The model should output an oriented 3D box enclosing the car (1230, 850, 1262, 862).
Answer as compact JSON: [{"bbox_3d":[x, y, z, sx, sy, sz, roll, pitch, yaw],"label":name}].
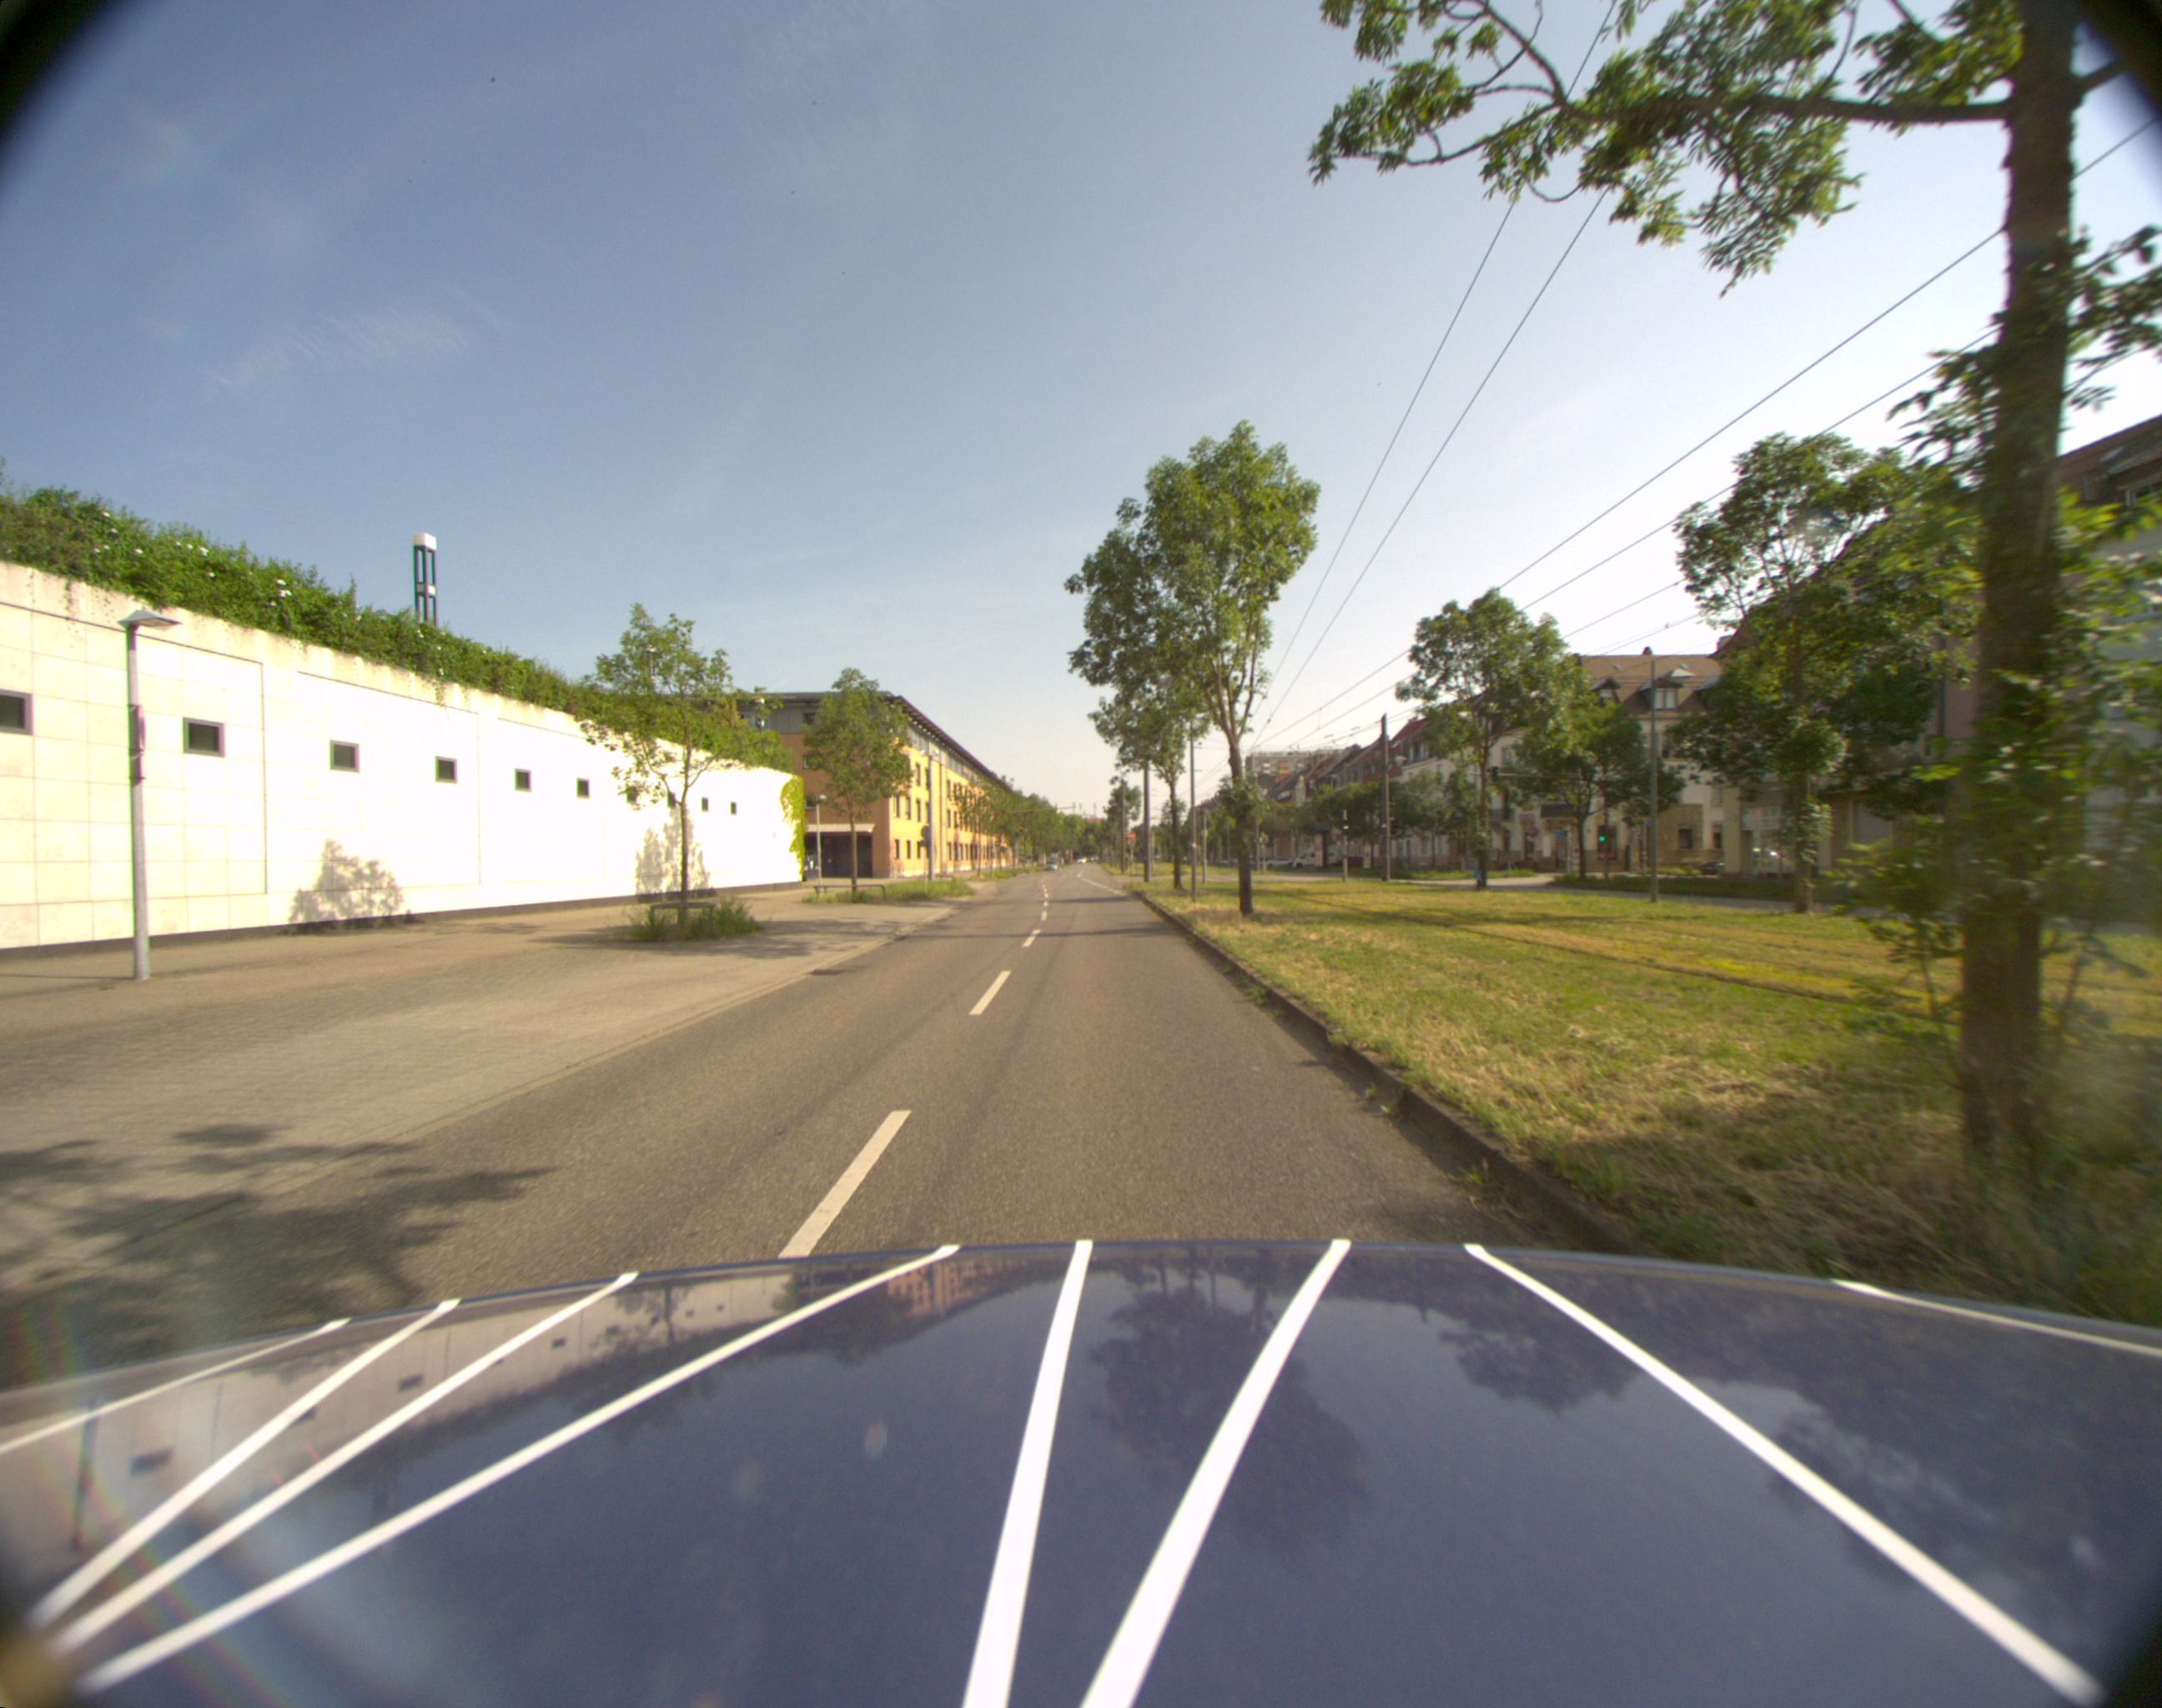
[{"bbox_3d":[27.814,0.302,128.331,4.939,1.716,1.860,-2,1,36],"label":"car"}]

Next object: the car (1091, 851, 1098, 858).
[{"bbox_3d":[3.990,0.122,228.875,1.998,2.002,4.000,-3,1,2],"label":"car"}]

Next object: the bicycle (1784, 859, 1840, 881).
[{"bbox_3d":[30.964,0.665,32.214,0.469,0.884,1.947,-3,1,0],"label":"bicycle"}]

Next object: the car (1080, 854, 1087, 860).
[{"bbox_3d":[0.735,0.855,196.454,1.693,1.476,3.366,-3,1,0],"label":"car"}]

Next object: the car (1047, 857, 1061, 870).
[{"bbox_3d":[-3.489,1.236,99.366,1.629,1.476,3.366,-3,1,0],"label":"car"}]

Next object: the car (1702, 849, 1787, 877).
[{"bbox_3d":[43.894,0.587,50.317,3.997,1.611,1.833,-3,1,-1],"label":"car"}]

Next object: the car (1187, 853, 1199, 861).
[{"bbox_3d":[22.838,0.561,155.090,1.817,1.425,3.925,-3,1,0],"label":"car"}]

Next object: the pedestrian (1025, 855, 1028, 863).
[{"bbox_3d":[-11.042,1.015,153.968,0.697,1.647,0.773,0,1,1],"label":"pedestrian"}]

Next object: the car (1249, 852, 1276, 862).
[{"bbox_3d":[27.449,0.447,114.887,3.677,1.234,1.665,-2,1,36],"label":"car"}]

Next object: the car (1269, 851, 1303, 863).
[{"bbox_3d":[27.418,0.414,101.784,4.004,1.309,1.665,-2,1,36],"label":"car"}]

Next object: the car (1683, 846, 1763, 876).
[{"bbox_3d":[44.579,0.460,52.816,3.997,1.839,1.833,-3,1,-1],"label":"car"}]

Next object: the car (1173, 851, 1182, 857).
[{"bbox_3d":[26.336,-0.113,208.104,1.952,1.451,4.649,-3,1,3],"label":"car"}]

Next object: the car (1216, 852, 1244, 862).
[{"bbox_3d":[27.685,0.541,141.146,4.765,1.477,2.026,-2,1,33],"label":"car"}]

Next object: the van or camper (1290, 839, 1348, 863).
[{"bbox_3d":[27.657,-0.310,88.427,5.910,2.559,2.203,-2,1,35],"label":"van or camper"}]

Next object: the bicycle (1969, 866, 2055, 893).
[{"bbox_3d":[30.831,0.836,25.202,0.438,0.784,1.947,-3,1,0],"label":"bicycle"}]

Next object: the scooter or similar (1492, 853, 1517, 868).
[{"bbox_3d":[31.678,0.514,56.894,0.743,1.062,1.486,-3,1,-20],"label":"scooter or similar"}]
